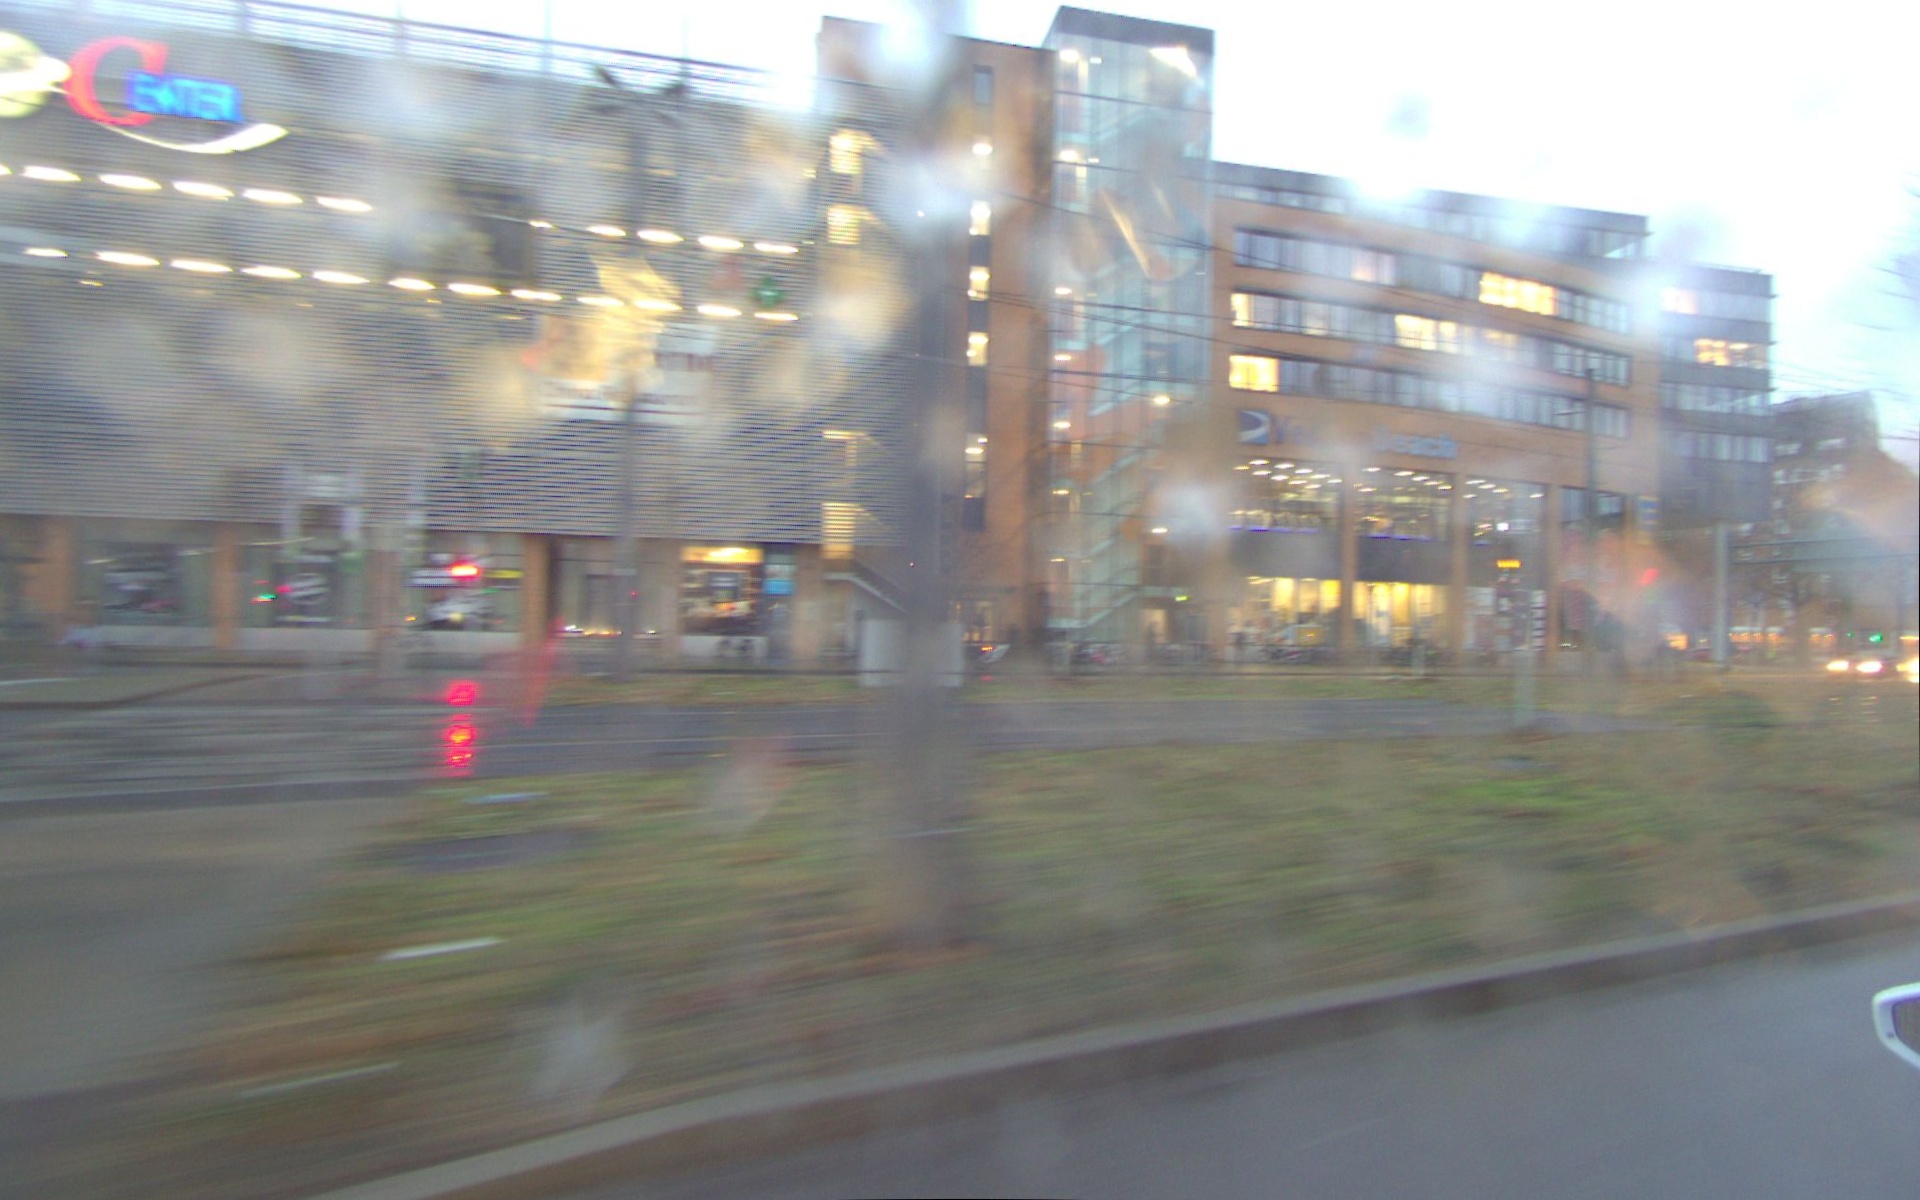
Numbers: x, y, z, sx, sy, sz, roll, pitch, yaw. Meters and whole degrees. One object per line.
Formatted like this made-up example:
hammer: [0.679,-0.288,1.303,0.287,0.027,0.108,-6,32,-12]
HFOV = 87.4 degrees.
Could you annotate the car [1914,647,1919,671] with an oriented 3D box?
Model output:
car: [60.346,3.676,62.057,3.516,1.420,1.495,2,-2,-37]

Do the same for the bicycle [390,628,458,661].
bicycle: [-19.506,1.621,36.565,2.055,1.136,0.476,3,-2,-12]

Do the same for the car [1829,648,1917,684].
car: [39.846,2.884,43.827,3.911,1.461,1.806,2,-2,-31]

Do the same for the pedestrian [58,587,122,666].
pedestrian: [-28.128,0.876,32.503,1.094,2.471,0.964,3,-2,-11]
